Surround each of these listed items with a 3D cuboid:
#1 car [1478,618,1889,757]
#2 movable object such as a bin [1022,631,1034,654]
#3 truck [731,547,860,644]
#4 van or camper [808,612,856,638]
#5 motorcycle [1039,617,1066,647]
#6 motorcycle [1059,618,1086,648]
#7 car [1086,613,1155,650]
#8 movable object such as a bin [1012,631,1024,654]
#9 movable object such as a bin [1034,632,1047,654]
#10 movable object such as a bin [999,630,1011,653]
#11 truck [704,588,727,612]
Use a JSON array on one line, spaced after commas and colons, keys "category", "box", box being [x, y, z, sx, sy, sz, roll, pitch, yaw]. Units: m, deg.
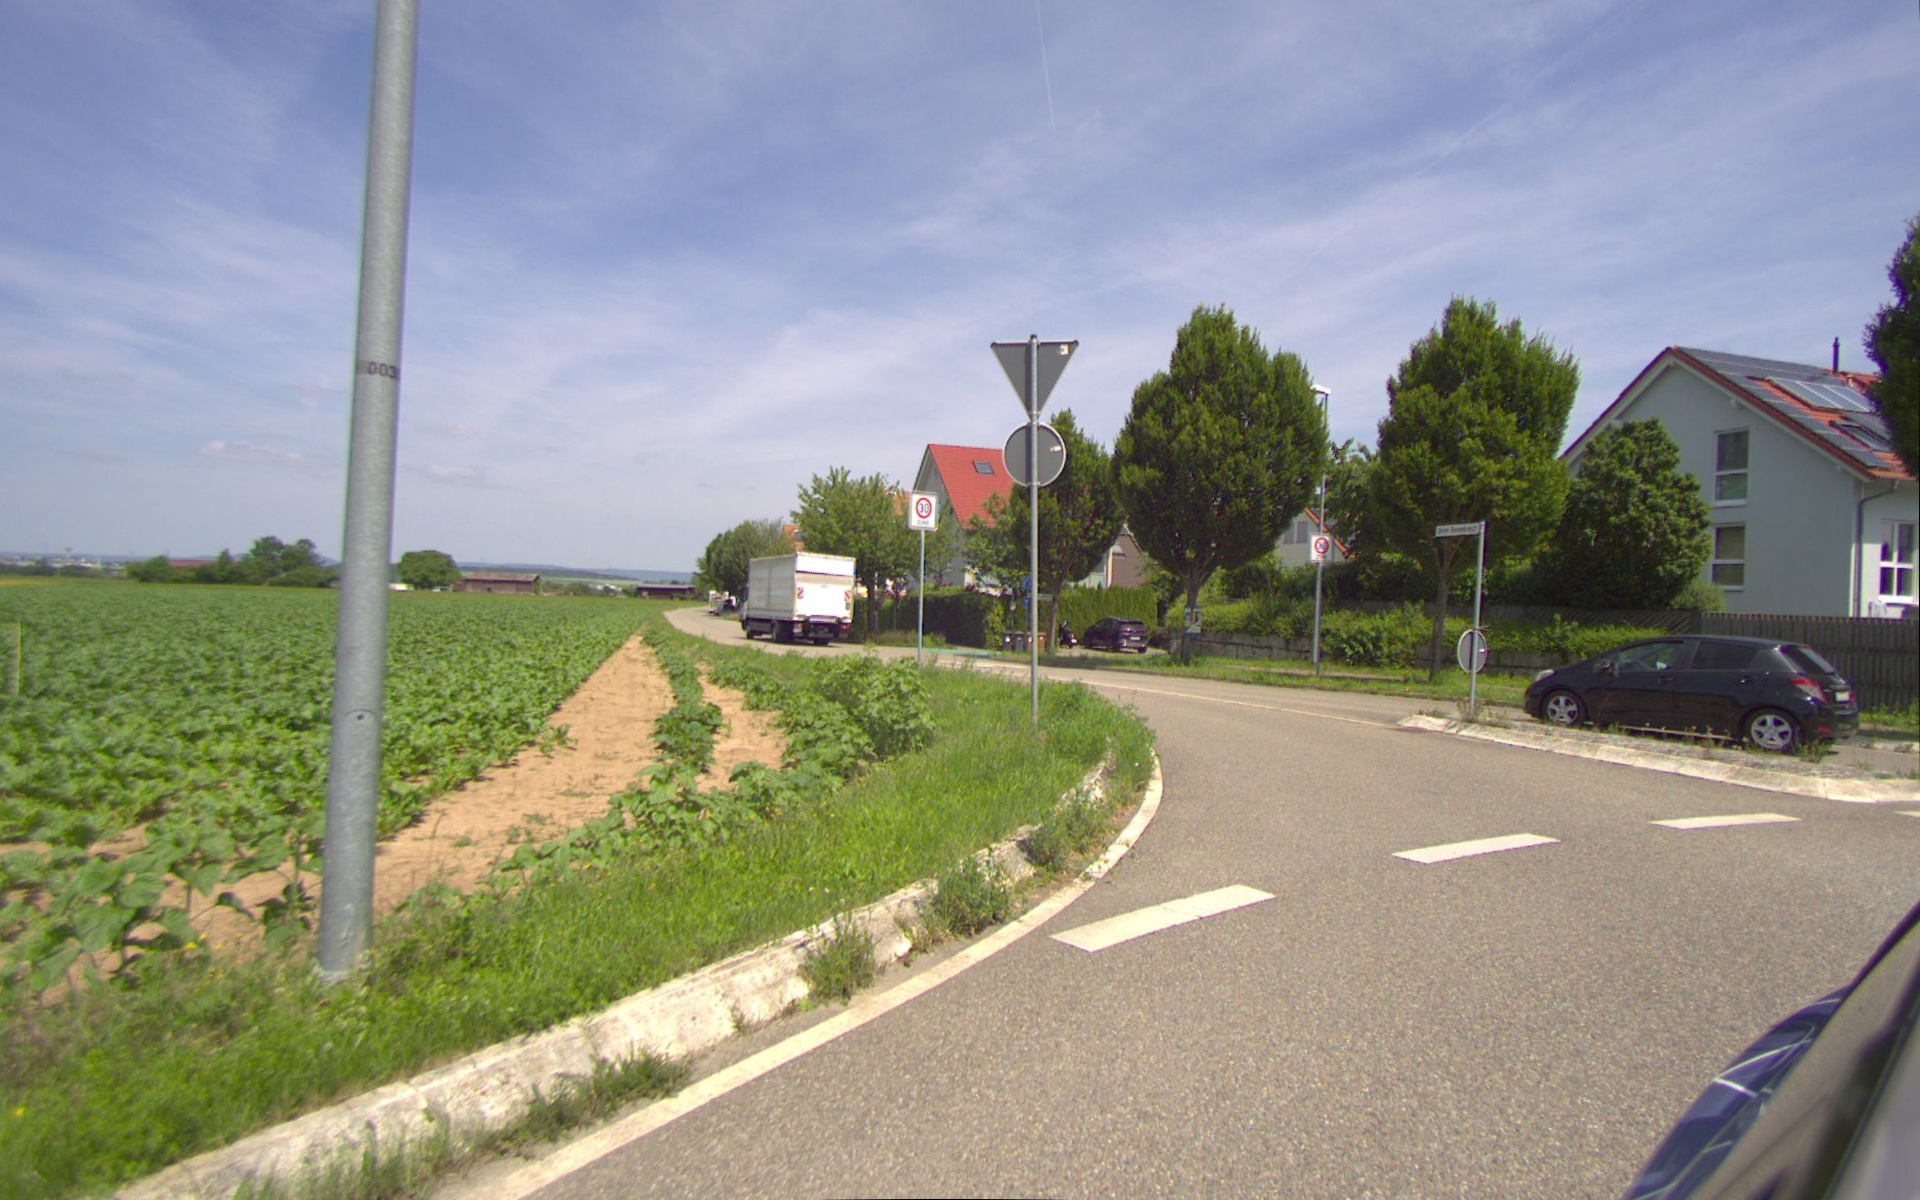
[{"category": "car", "box": [10.000, 1.109, 14.381, 1.646, 1.483, 4.434, 3, 0, -34]}, {"category": "movable object such as a bin", "box": [3.046, 1.897, 45.126, 0.432, 0.978, 0.499, 3, -1, -3]}, {"category": "truck", "box": [-7.390, -0.123, 44.057, 2.718, 3.718, 9.395, 3, -2, -26]}, {"category": "van or camper", "box": [-6.500, 1.234, 51.142, 1.564, 1.236, 3.692, 2, -2, -21]}, {"category": "motorcycle", "box": [4.432, 1.534, 48.610, 0.833, 1.365, 1.664, 2, 0, -10]}, {"category": "motorcycle", "box": [5.403, 1.568, 48.793, 0.833, 1.365, 1.664, 2, 0, -10]}, {"category": "car", "box": [7.607, 1.469, 48.313, 1.676, 1.571, 4.009, 2, 0, -16]}, {"category": "movable object such as a bin", "box": [2.567, 1.878, 45.097, 0.432, 0.978, 0.499, 3, -1, -3]}, {"category": "movable object such as a bin", "box": [3.588, 1.918, 45.154, 0.432, 0.978, 0.499, 3, -1, -3]}, {"category": "movable object such as a bin", "box": [2.013, 1.854, 45.062, 0.432, 0.978, 0.499, 3, -1, -3]}, {"category": "truck", "box": [-31.139, -0.025, 128.506, 2.061, 2.925, 6.792, 2, -1, -19]}]
